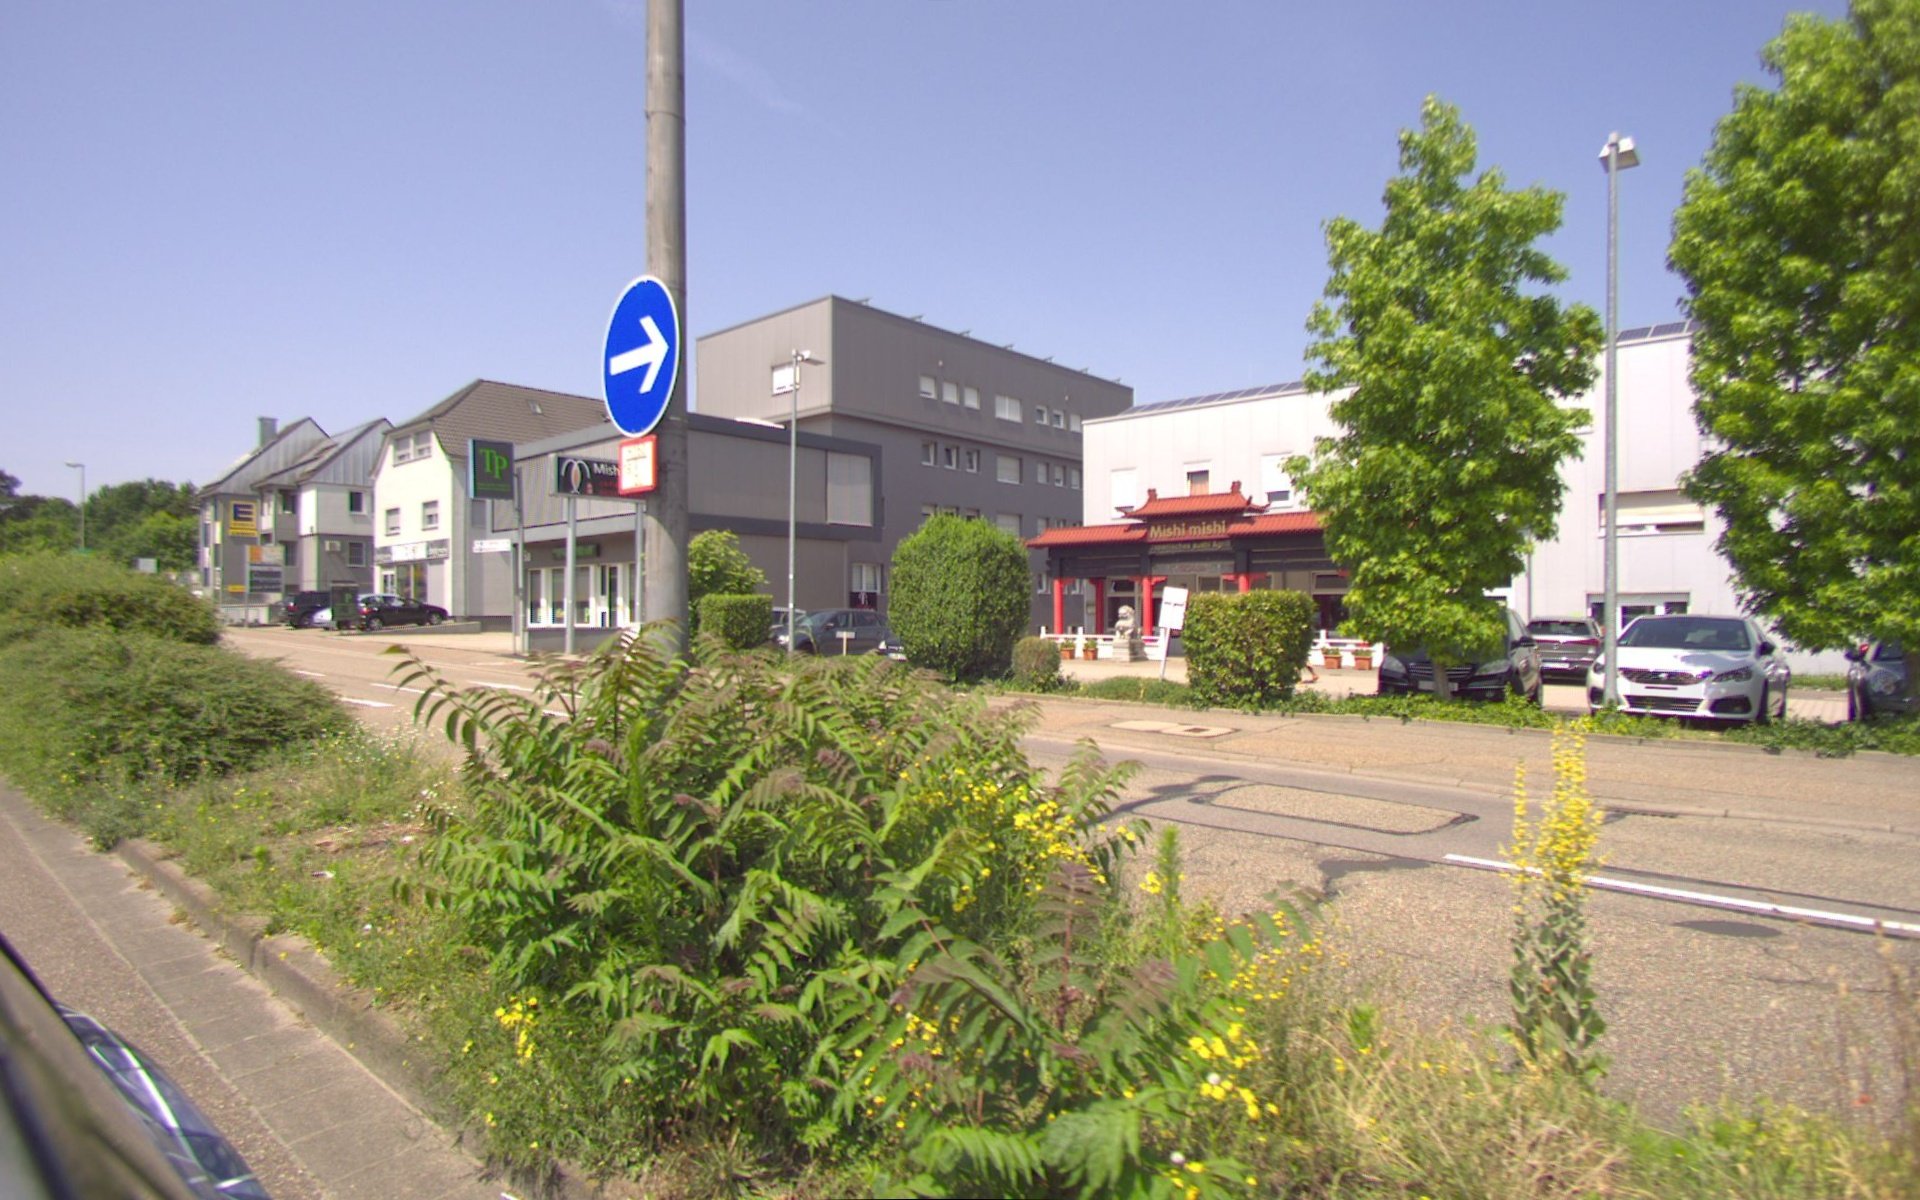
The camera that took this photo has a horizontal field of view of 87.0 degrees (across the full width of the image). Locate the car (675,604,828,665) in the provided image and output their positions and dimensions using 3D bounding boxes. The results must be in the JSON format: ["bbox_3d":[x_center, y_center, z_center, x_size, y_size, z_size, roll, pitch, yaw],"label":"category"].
[{"bbox_3d":[-5.460,0.863,26.920,1.572,1.470,3.951,1,0,36],"label":"car"}]

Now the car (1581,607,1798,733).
[{"bbox_3d":[9.588,0.827,13.156,1.979,1.359,4.180,-1,-2,40],"label":"car"}]

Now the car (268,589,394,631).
[{"bbox_3d":[-29.152,0.417,47.008,1.853,1.639,4.560,0,3,40],"label":"car"}]

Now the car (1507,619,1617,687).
[{"bbox_3d":[14.506,1.192,24.287,1.960,1.478,3.936,-1,-1,36],"label":"car"}]

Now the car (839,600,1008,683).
[{"bbox_3d":[-0.728,0.827,21.903,1.777,1.541,3.444,2,2,42],"label":"car"}]

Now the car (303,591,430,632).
[{"bbox_3d":[-26.546,0.470,45.394,1.747,1.507,4.571,0,3,33],"label":"car"}]

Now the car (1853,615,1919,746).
[{"bbox_3d":[11.519,0.851,11.561,1.858,1.344,3.799,-1,-1,40],"label":"car"}]

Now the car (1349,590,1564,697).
[{"bbox_3d":[7.450,0.621,14.989,2.040,1.352,4.108,-1,-2,38],"label":"car"}]

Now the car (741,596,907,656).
[{"bbox_3d":[-3.316,0.686,25.221,1.669,1.382,3.953,-2,-3,43],"label":"car"}]

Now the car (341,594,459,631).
[{"bbox_3d":[-24.274,0.536,43.970,1.997,1.532,4.018,1,0,38],"label":"car"}]

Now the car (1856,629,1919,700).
[{"bbox_3d":[19.459,1.261,20.507,1.859,1.295,3.798,-1,-1,41],"label":"car"}]
